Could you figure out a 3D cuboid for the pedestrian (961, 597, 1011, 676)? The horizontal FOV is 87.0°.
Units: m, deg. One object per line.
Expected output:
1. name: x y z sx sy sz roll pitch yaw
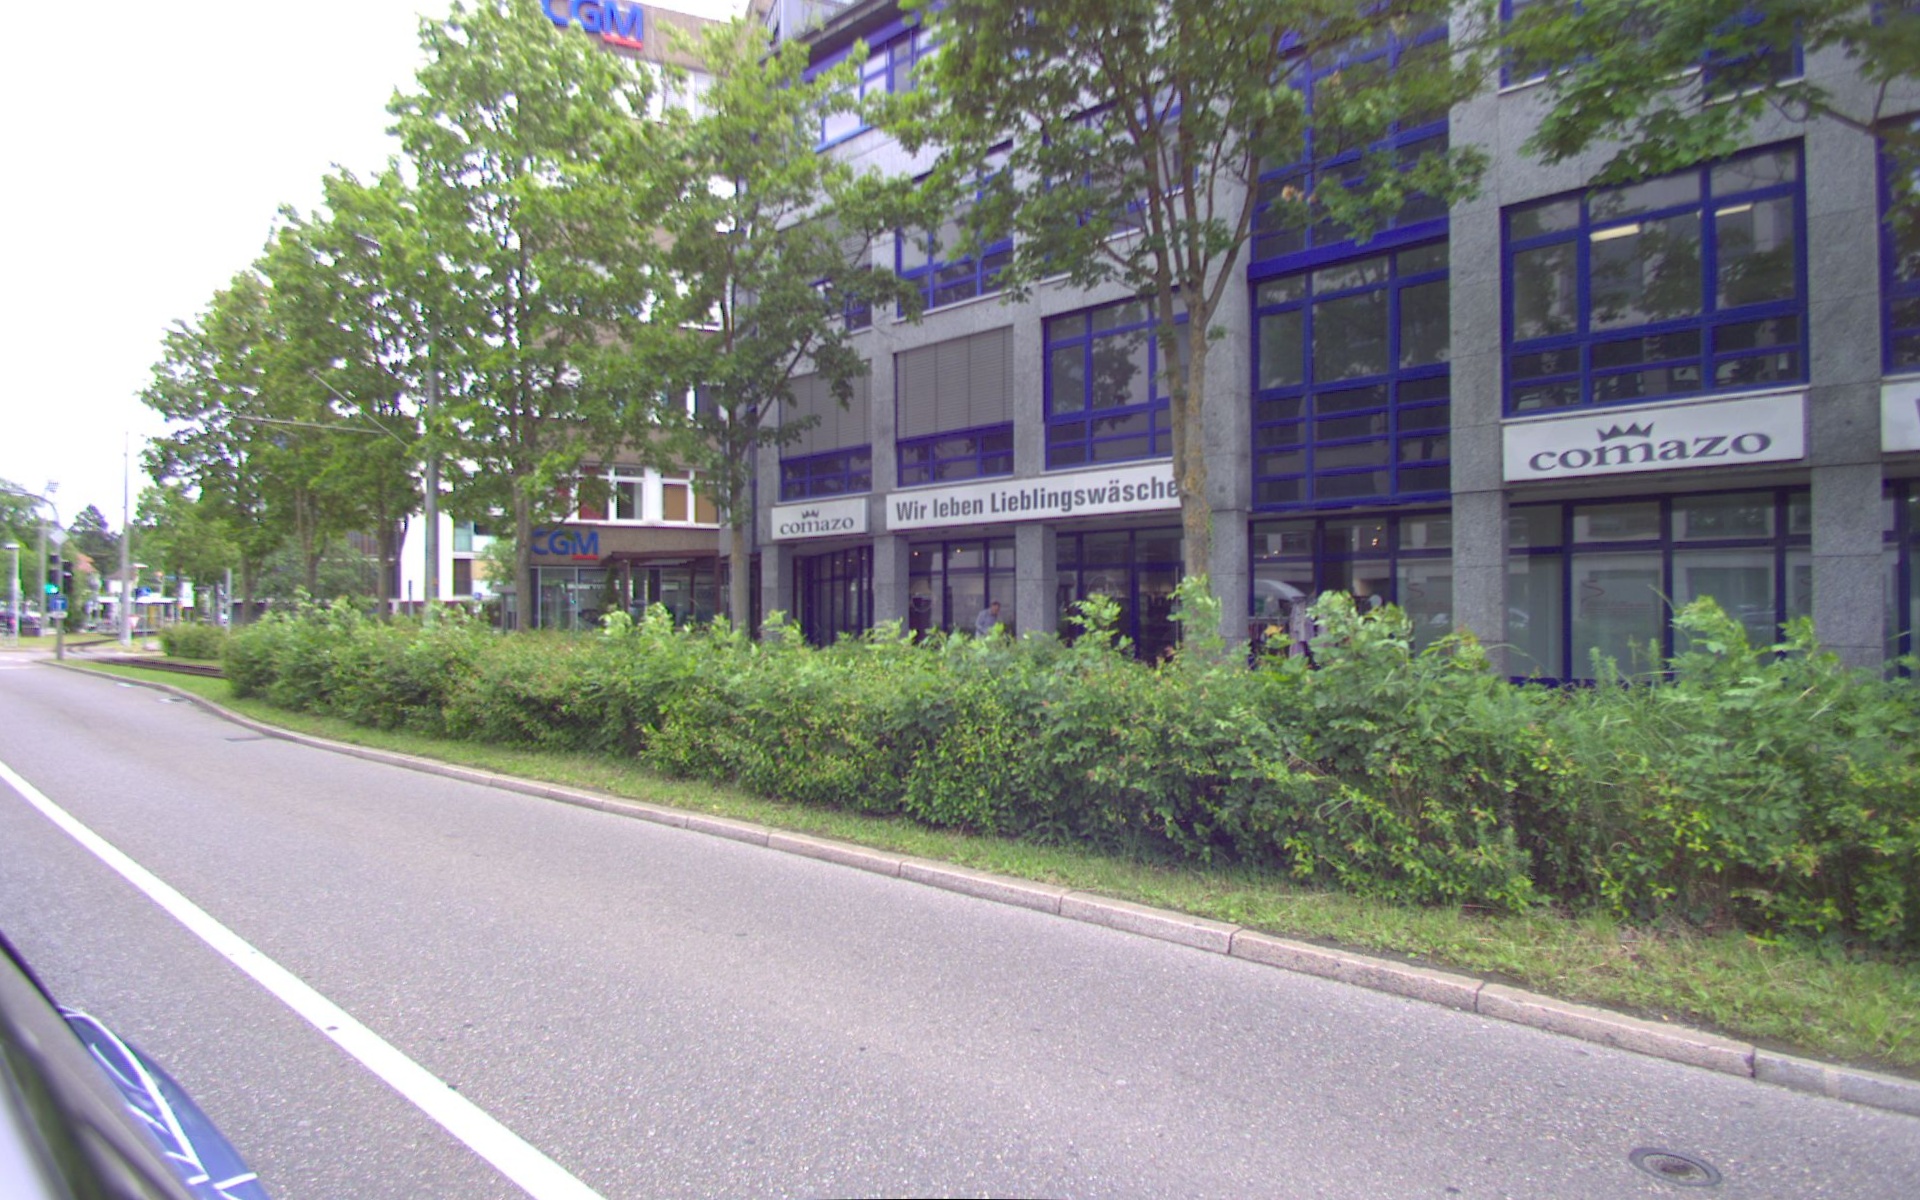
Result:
1. pedestrian: 0.517 0.708 19.985 0.679 1.493 0.690 -1 0 41
